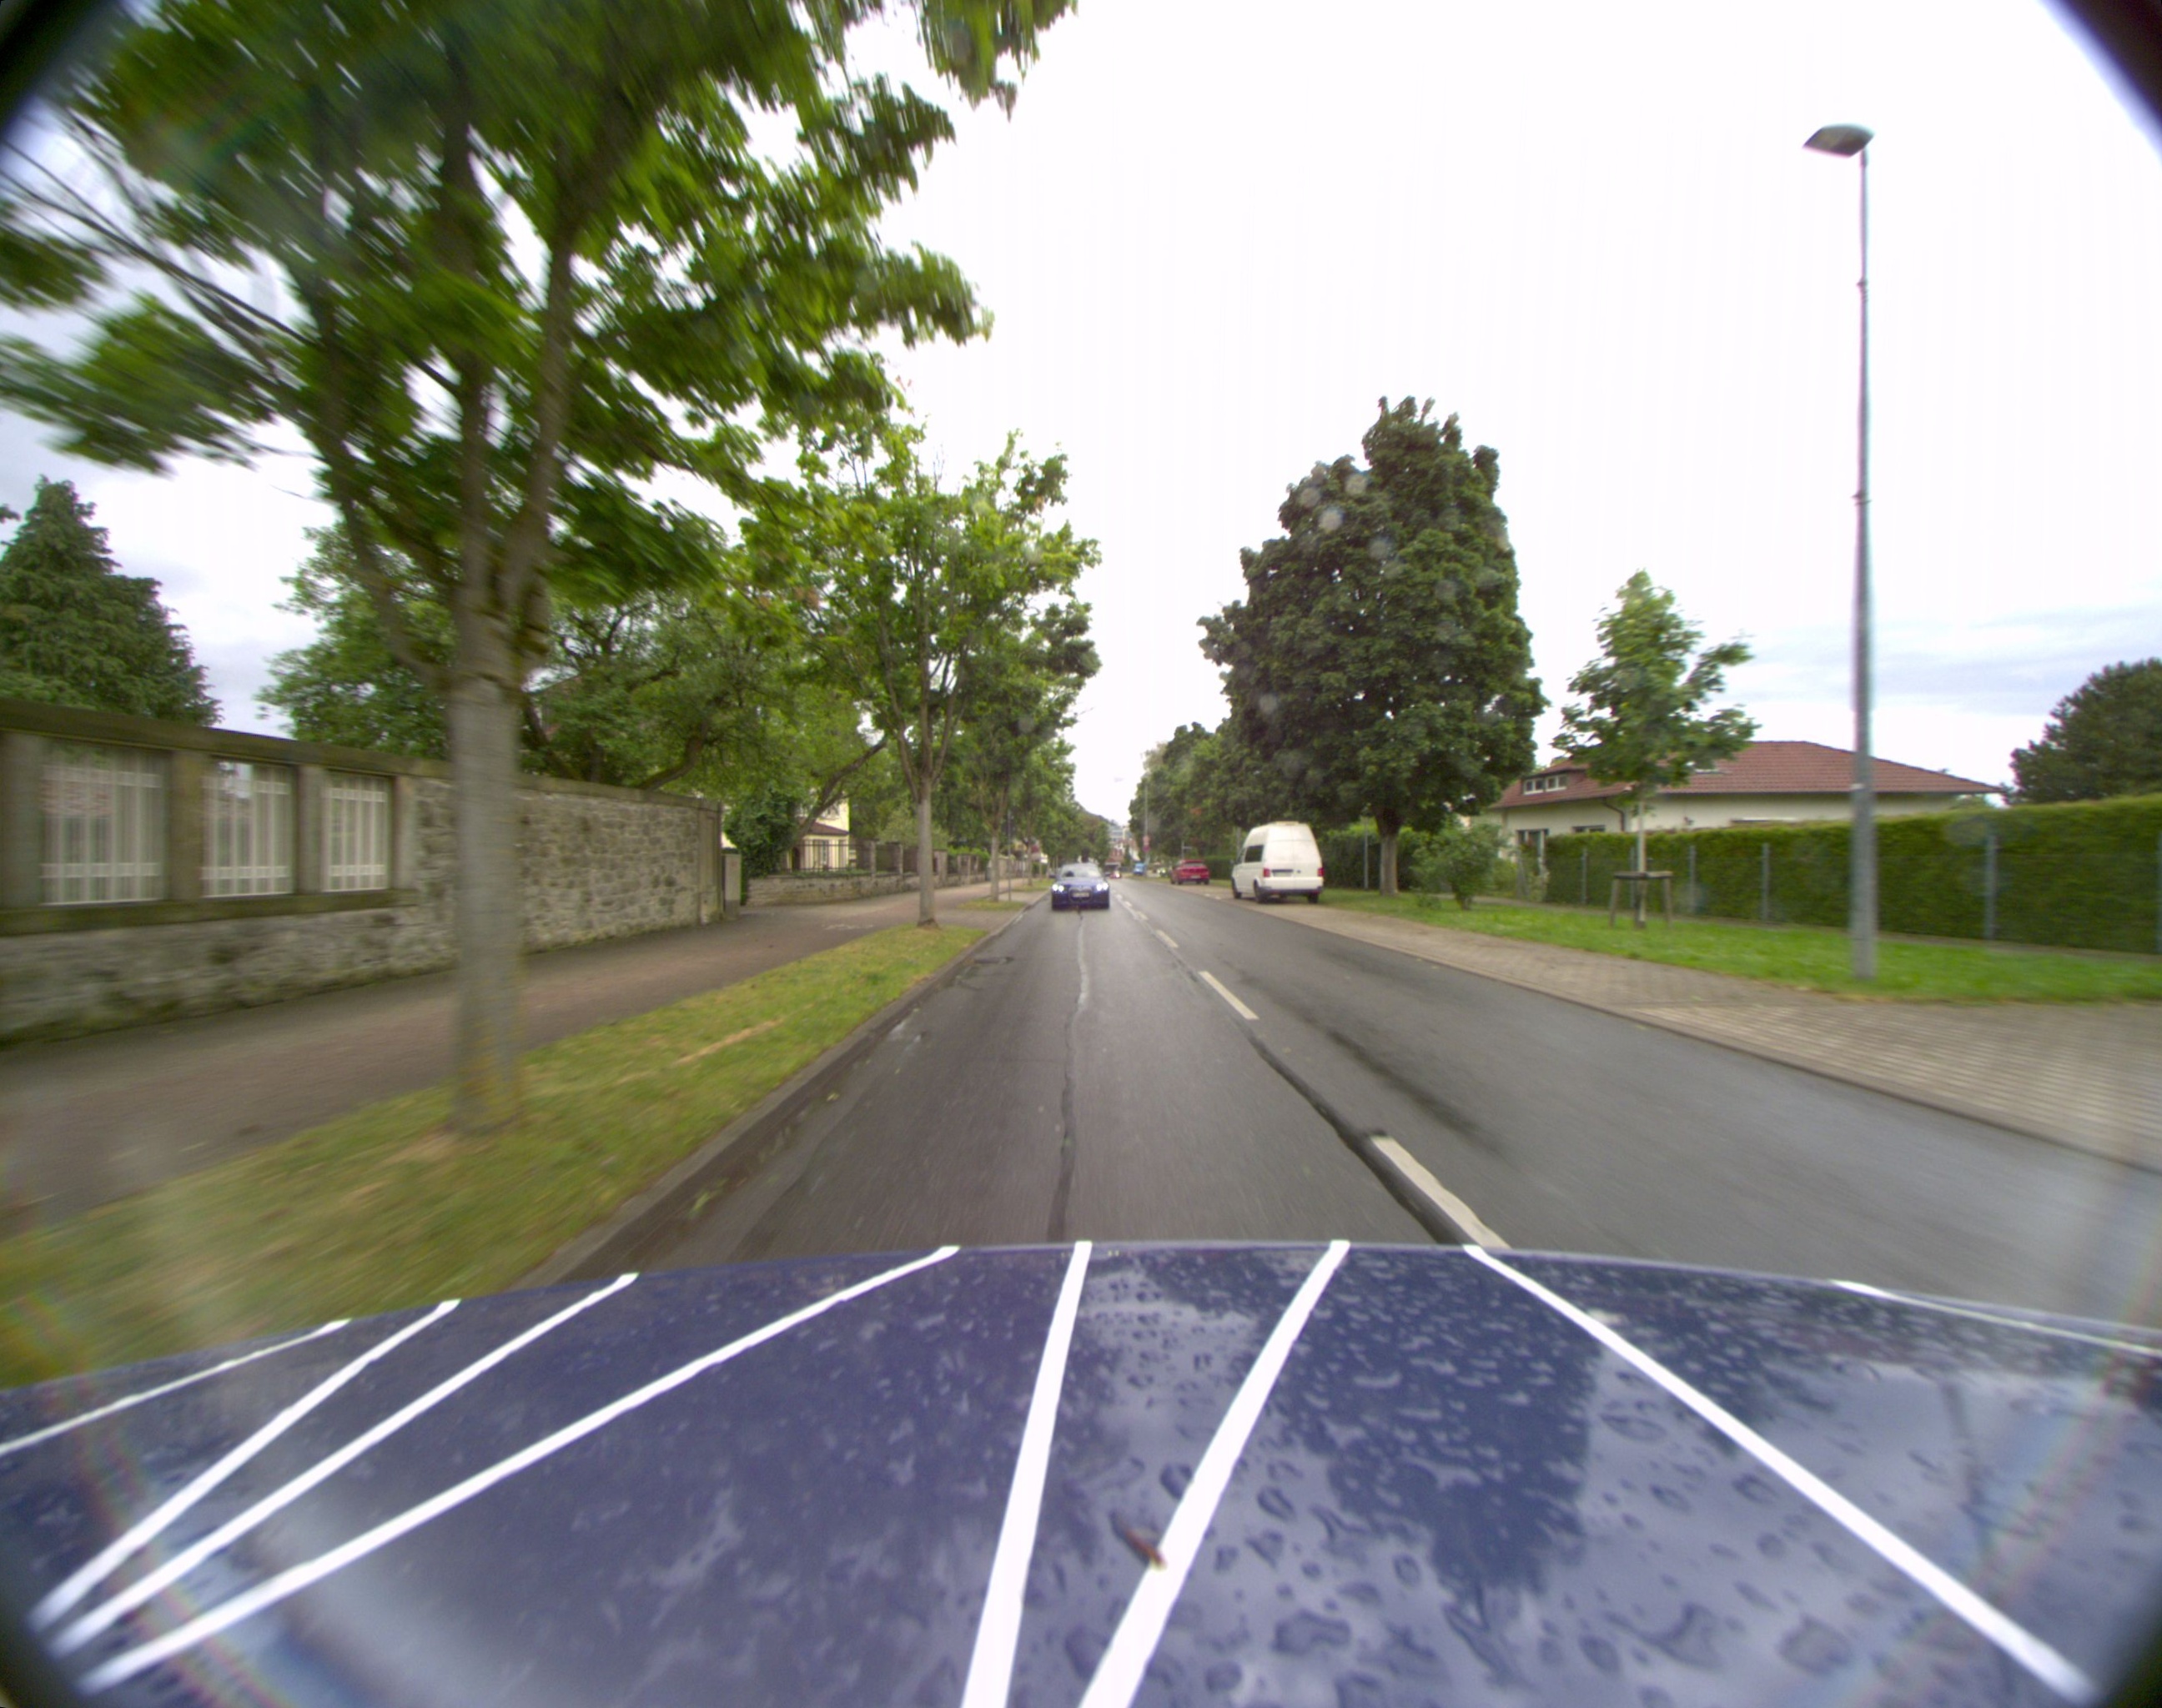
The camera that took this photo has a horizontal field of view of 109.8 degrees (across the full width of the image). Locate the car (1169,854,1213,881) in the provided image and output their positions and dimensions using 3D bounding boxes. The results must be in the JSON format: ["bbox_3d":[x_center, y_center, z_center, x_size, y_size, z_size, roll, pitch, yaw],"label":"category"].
[{"bbox_3d":[6.308,0.764,43.998,1.848,1.457,4.249,-1,-1,-1],"label":"car"}]

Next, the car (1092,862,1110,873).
[{"bbox_3d":[2.975,1.902,110.029,1.894,1.531,4.004,-3,-1,11],"label":"car"}]

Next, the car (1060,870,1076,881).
[{"bbox_3d":[-1.618,2.789,97.291,1.645,1.369,3.831,1,-1,4],"label":"car"}]

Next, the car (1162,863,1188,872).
[{"bbox_3d":[17.278,2.518,139.650,4.434,1.408,1.758,-4,-1,15],"label":"car"}]

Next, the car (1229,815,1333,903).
[{"bbox_3d":[6.408,0.162,25.009,1.999,2.546,5.232,-1,0,0],"label":"car"}]

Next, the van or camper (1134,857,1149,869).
[{"bbox_3d":[13.542,2.060,170.528,2.146,2.594,5.789,1,1,17],"label":"van or camper"}]

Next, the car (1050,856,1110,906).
[{"bbox_3d":[0.012,0.916,26.693,1.895,1.531,4.001,-2,-1,1],"label":"car"}]
